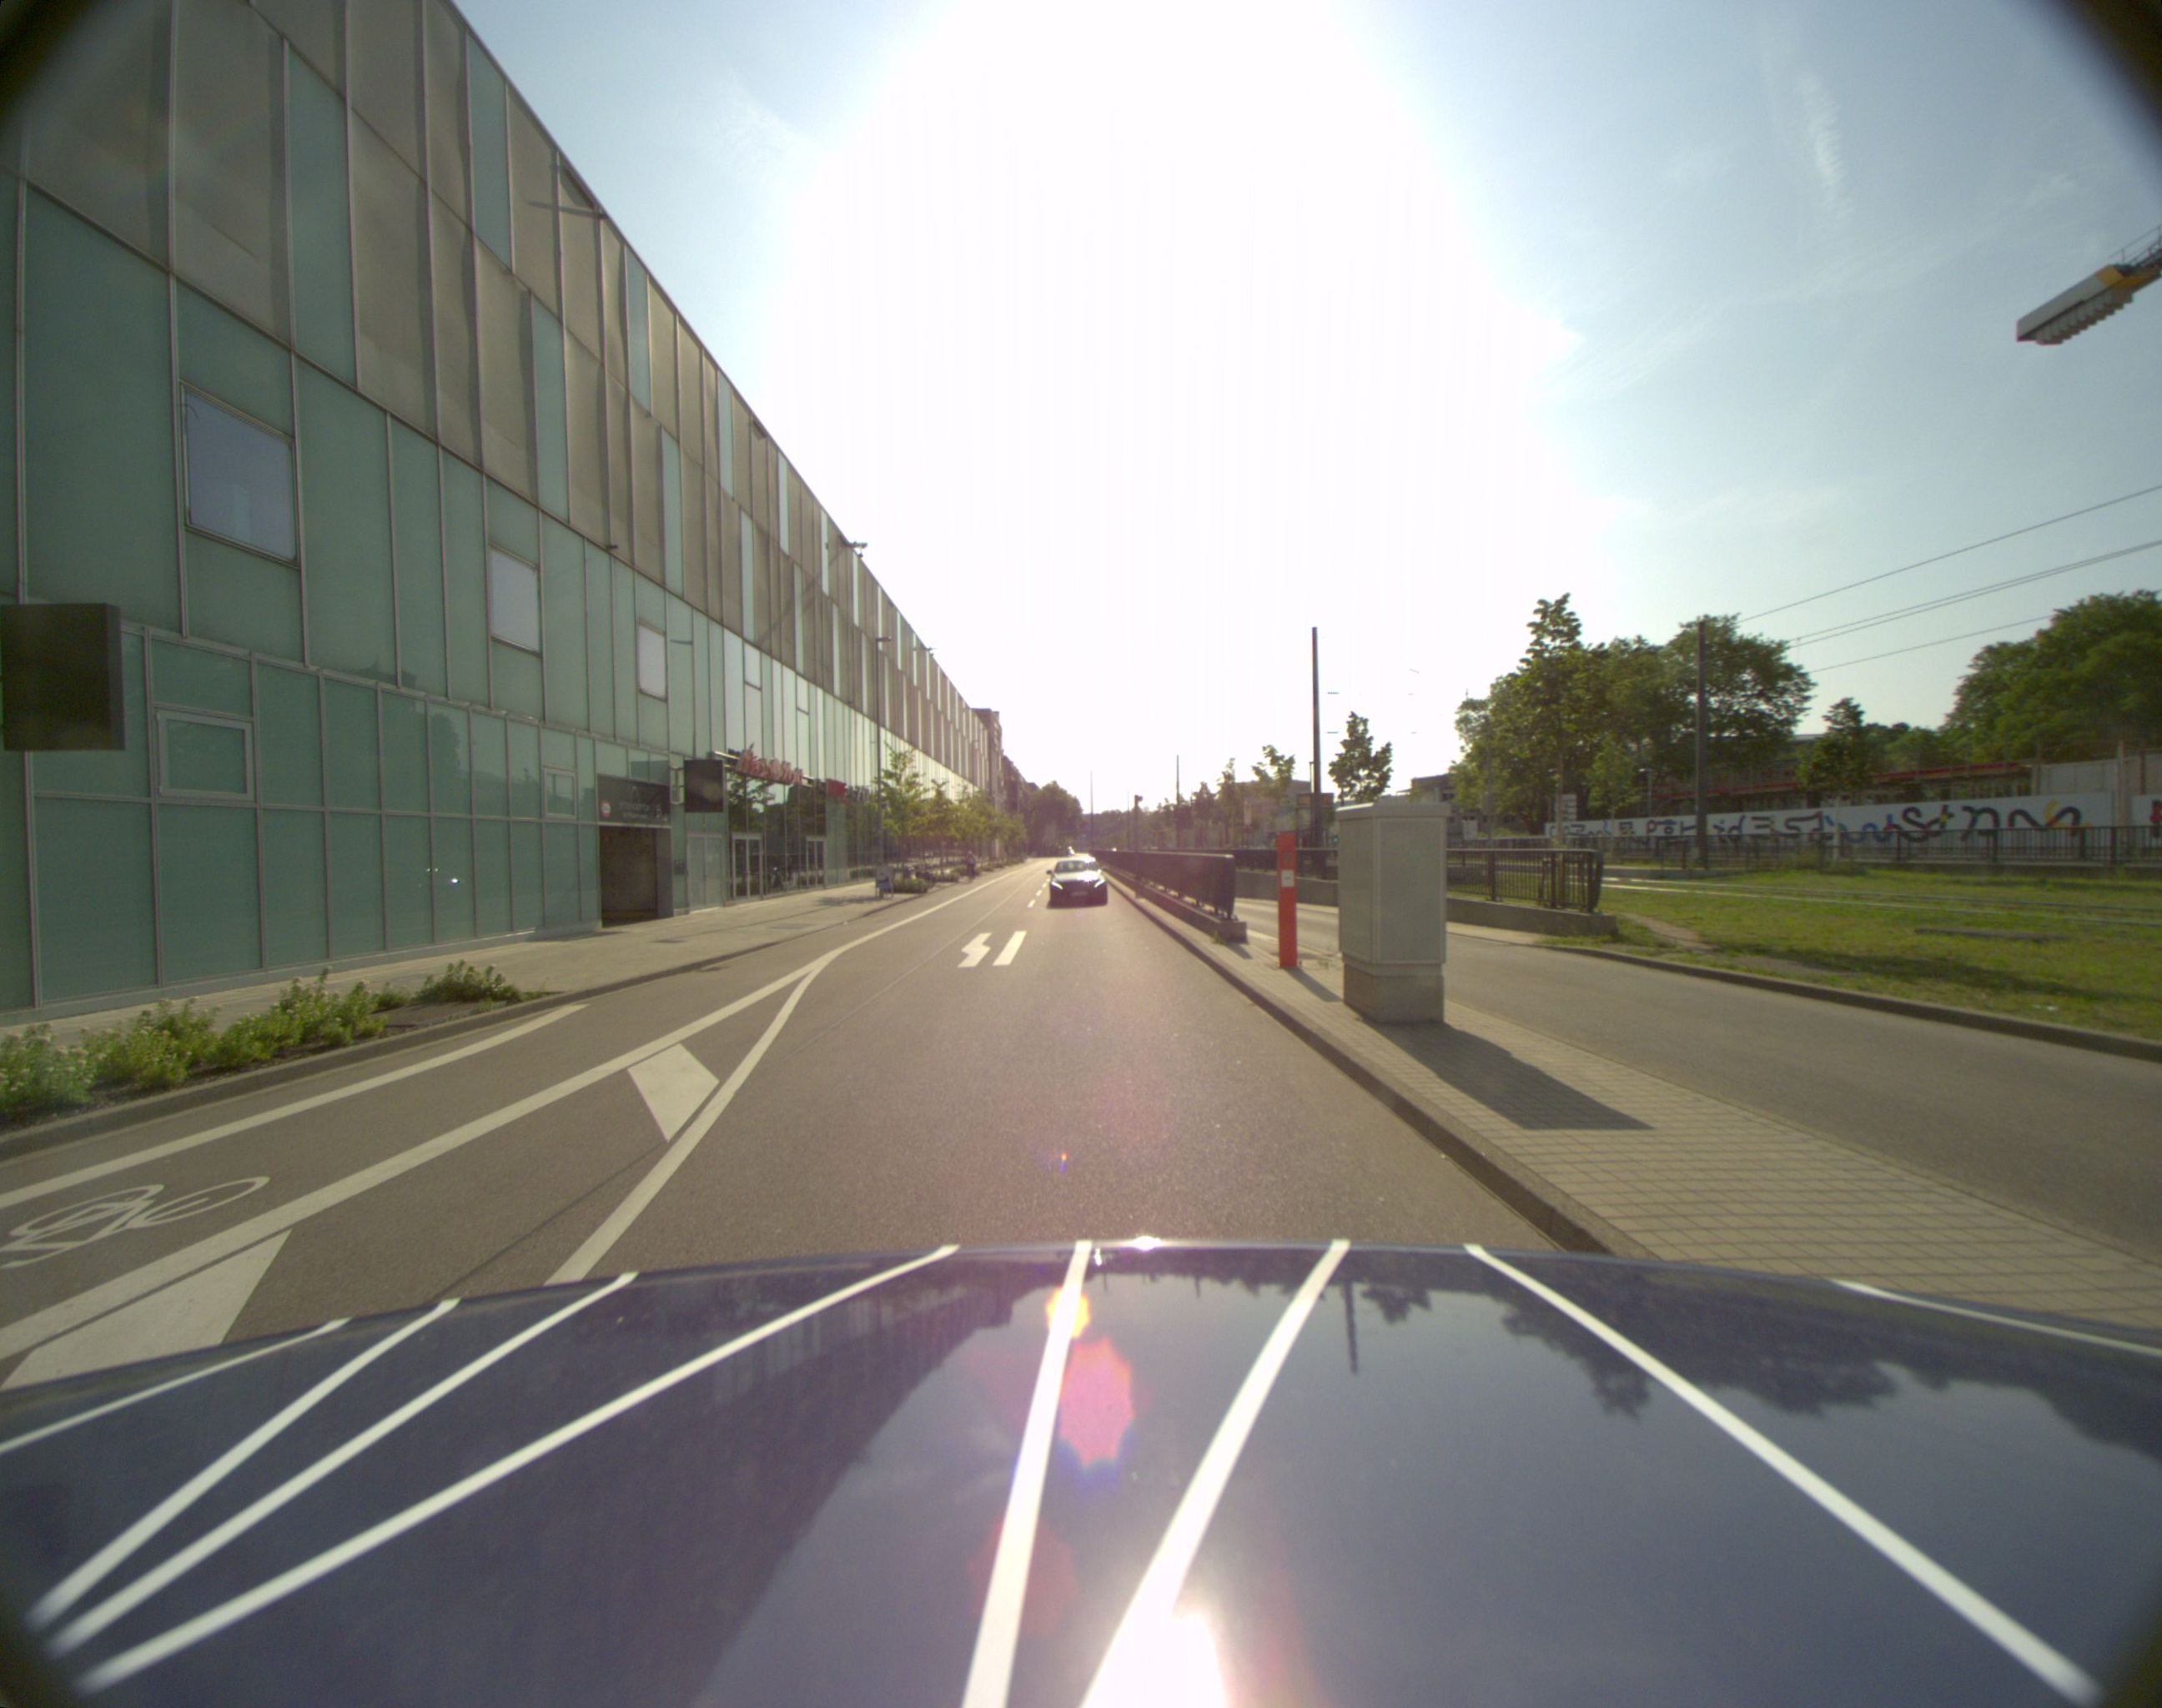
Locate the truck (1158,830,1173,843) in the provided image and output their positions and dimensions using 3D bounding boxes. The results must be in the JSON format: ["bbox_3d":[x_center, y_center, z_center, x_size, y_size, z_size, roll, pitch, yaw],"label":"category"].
[{"bbox_3d":[24.788,-5.107,223.281,3.029,3.566,8.888,-1,1,-1],"label":"truck"}]

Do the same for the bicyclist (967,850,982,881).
[{"bbox_3d":[-6.178,0.661,44.101,0.652,1.739,0.769,-1,2,2],"label":"bicyclist"}]

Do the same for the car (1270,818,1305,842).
[{"bbox_3d":[33.074,-3.780,122.120,3.062,3.493,9.231,-2,1,-1],"label":"car"}]

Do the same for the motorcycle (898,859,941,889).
[{"bbox_3d":[-7.841,0.965,36.929,1.975,1.342,0.866,-1,2,-11],"label":"motorcycle"}]

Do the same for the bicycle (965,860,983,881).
[{"bbox_3d":[-6.187,0.937,43.930,0.662,1.111,2.051,-1,1,3],"label":"bicycle"}]

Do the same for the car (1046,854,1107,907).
[{"bbox_3d":[-0.044,0.799,25.322,1.716,1.429,5.057,-2,1,3],"label":"car"}]

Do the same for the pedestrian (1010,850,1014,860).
[{"bbox_3d":[-10.877,0.180,119.382,0.468,1.640,0.777,-2,2,0],"label":"pedestrian"}]

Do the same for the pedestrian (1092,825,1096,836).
[{"bbox_3d":[2.041,-3.668,119.987,0.468,1.640,0.777,-2,2,0],"label":"pedestrian"}]
